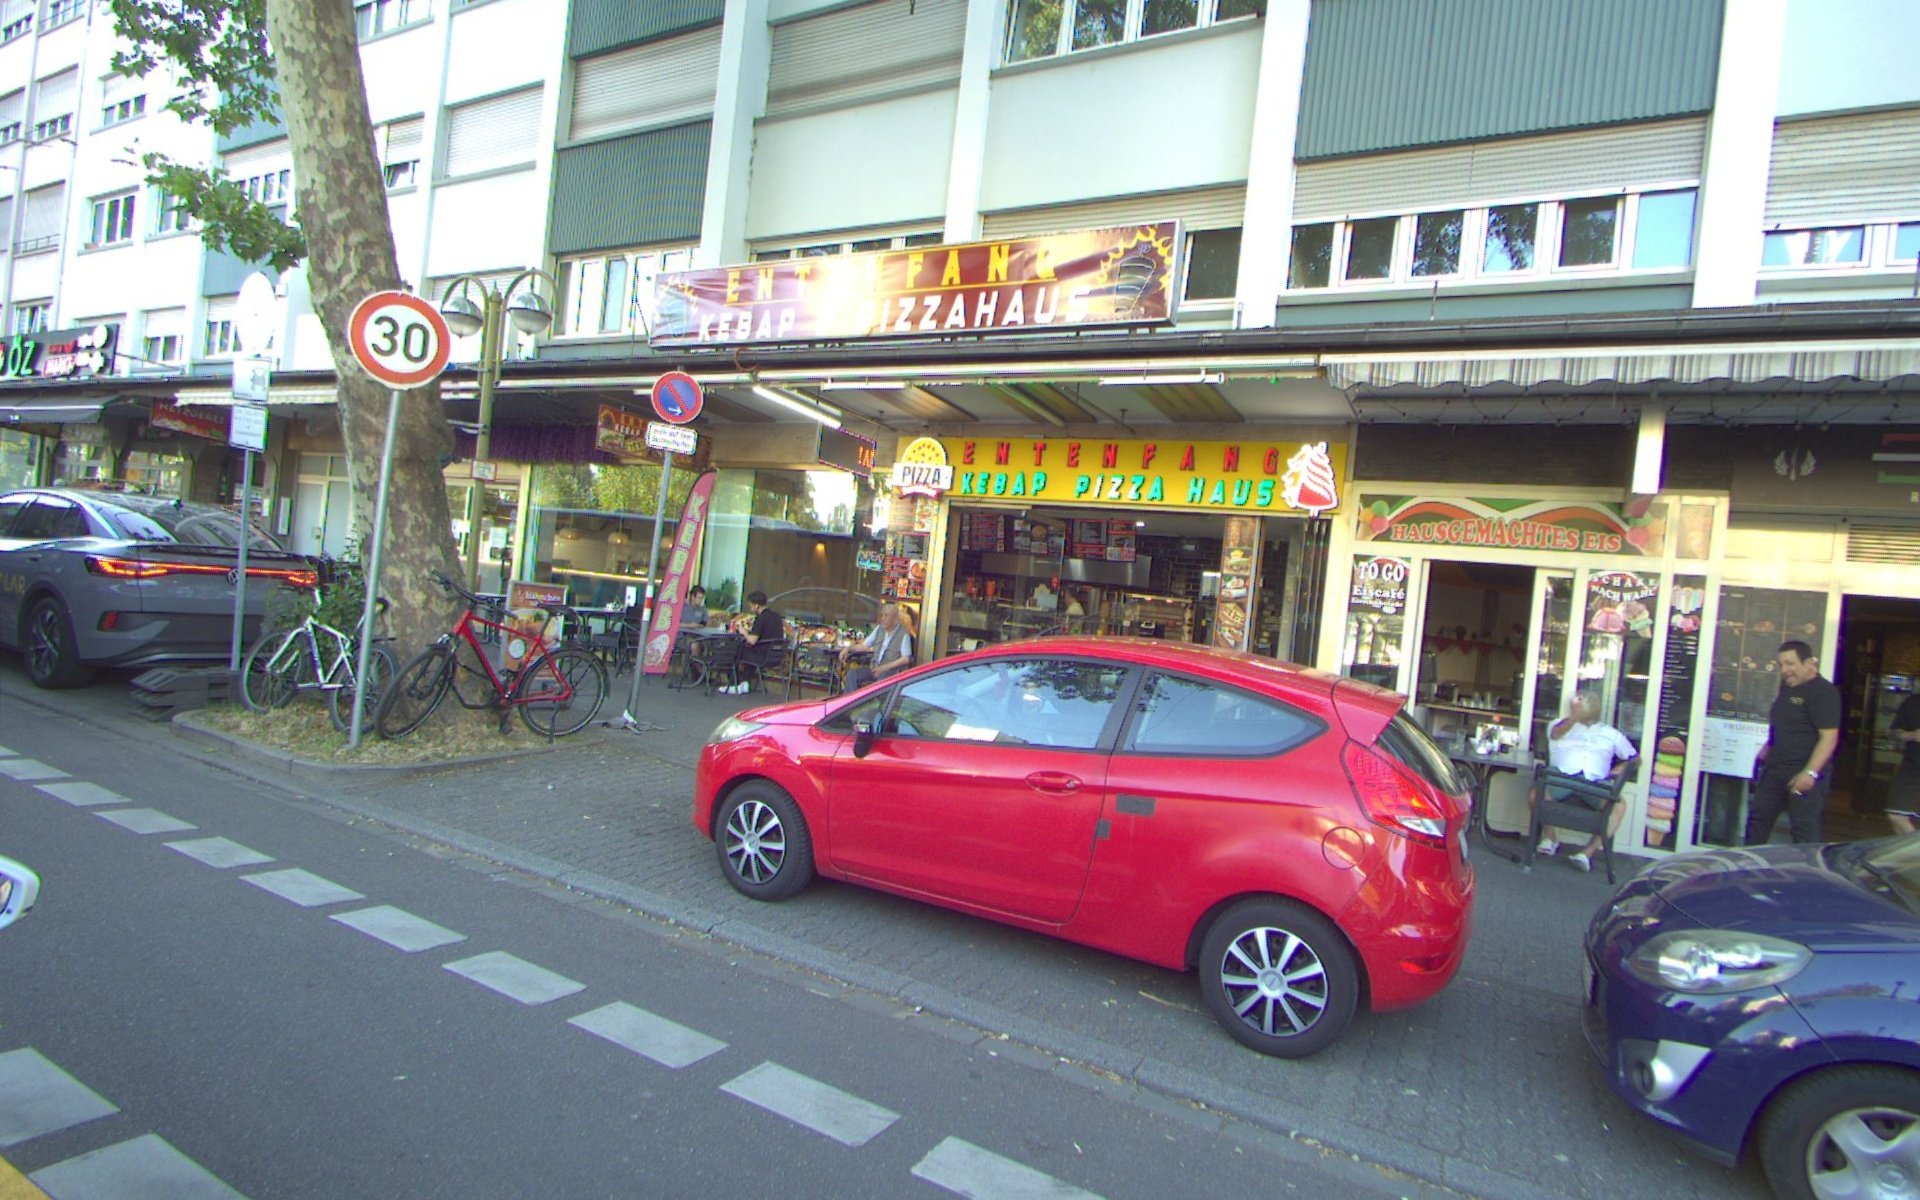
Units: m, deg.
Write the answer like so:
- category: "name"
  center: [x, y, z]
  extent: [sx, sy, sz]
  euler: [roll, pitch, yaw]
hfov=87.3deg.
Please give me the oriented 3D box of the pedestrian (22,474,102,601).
- category: "pedestrian"
  center: [-15.243, -1.047, 17.085]
  extent: [0.684, 2.038, 0.692]
  euler: [7, 1, 29]

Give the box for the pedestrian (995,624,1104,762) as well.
- category: "pedestrian"
  center: [0.835, 0.839, 9.409]
  extent: [0.740, 1.172, 0.593]
  euler: [6, 3, 33]

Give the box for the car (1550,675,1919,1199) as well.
- category: "car"
  center: [3.878, 1.223, 2.910]
  extent: [3.543, 1.485, 1.620]
  euler: [7, 2, 29]

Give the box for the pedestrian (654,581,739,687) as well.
- category: "pedestrian"
  center: [-3.233, 0.409, 12.359]
  extent: [0.694, 1.220, 0.675]
  euler: [7, 3, 42]

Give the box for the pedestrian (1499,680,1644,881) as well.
- category: "pedestrian"
  center: [4.639, 1.297, 7.620]
  extent: [0.767, 1.249, 1.202]
  euler: [6, 3, 33]

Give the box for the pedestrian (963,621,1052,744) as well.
- category: "pedestrian"
  center: [0.495, 0.827, 10.380]
  extent: [0.585, 1.172, 0.671]
  euler: [6, 3, 31]

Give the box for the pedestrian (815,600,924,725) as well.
- category: "pedestrian"
  center: [-0.976, 0.663, 10.864]
  extent: [0.861, 1.237, 0.688]
  euler: [2, 3, -44]

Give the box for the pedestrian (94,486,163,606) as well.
- category: "pedestrian"
  center: [-14.850, -0.963, 17.974]
  extent: [0.685, 2.038, 0.613]
  euler: [7, 1, 31]

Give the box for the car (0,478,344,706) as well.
- category: "car"
  center: [-7.838, -0.203, 9.211]
  extent: [4.223, 1.619, 1.742]
  euler: [7, 2, 27]

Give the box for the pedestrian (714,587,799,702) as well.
- category: "pedestrian"
  center: [-2.388, 0.511, 11.796]
  extent: [0.701, 1.260, 0.614]
  euler: [7, 3, 41]

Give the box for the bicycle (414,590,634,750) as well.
- category: "bicycle"
  center: [-3.230, 0.505, 7.556]
  extent: [0.291, 1.082, 1.455]
  euler: [12, 7, 42]

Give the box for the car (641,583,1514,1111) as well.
- category: "car"
  center: [0.480, 0.846, 4.992]
  extent: [3.780, 1.448, 1.668]
  euler: [7, 2, 27]

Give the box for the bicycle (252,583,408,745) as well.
- category: "bicycle"
  center: [-4.442, 0.425, 7.077]
  extent: [1.110, 0.941, 0.295]
  euler: [9, 6, 21]

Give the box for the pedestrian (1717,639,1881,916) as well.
- category: "pedestrian"
  center: [5.791, 1.185, 6.988]
  extent: [0.579, 1.759, 0.596]
  euler: [8, 3, 29]
